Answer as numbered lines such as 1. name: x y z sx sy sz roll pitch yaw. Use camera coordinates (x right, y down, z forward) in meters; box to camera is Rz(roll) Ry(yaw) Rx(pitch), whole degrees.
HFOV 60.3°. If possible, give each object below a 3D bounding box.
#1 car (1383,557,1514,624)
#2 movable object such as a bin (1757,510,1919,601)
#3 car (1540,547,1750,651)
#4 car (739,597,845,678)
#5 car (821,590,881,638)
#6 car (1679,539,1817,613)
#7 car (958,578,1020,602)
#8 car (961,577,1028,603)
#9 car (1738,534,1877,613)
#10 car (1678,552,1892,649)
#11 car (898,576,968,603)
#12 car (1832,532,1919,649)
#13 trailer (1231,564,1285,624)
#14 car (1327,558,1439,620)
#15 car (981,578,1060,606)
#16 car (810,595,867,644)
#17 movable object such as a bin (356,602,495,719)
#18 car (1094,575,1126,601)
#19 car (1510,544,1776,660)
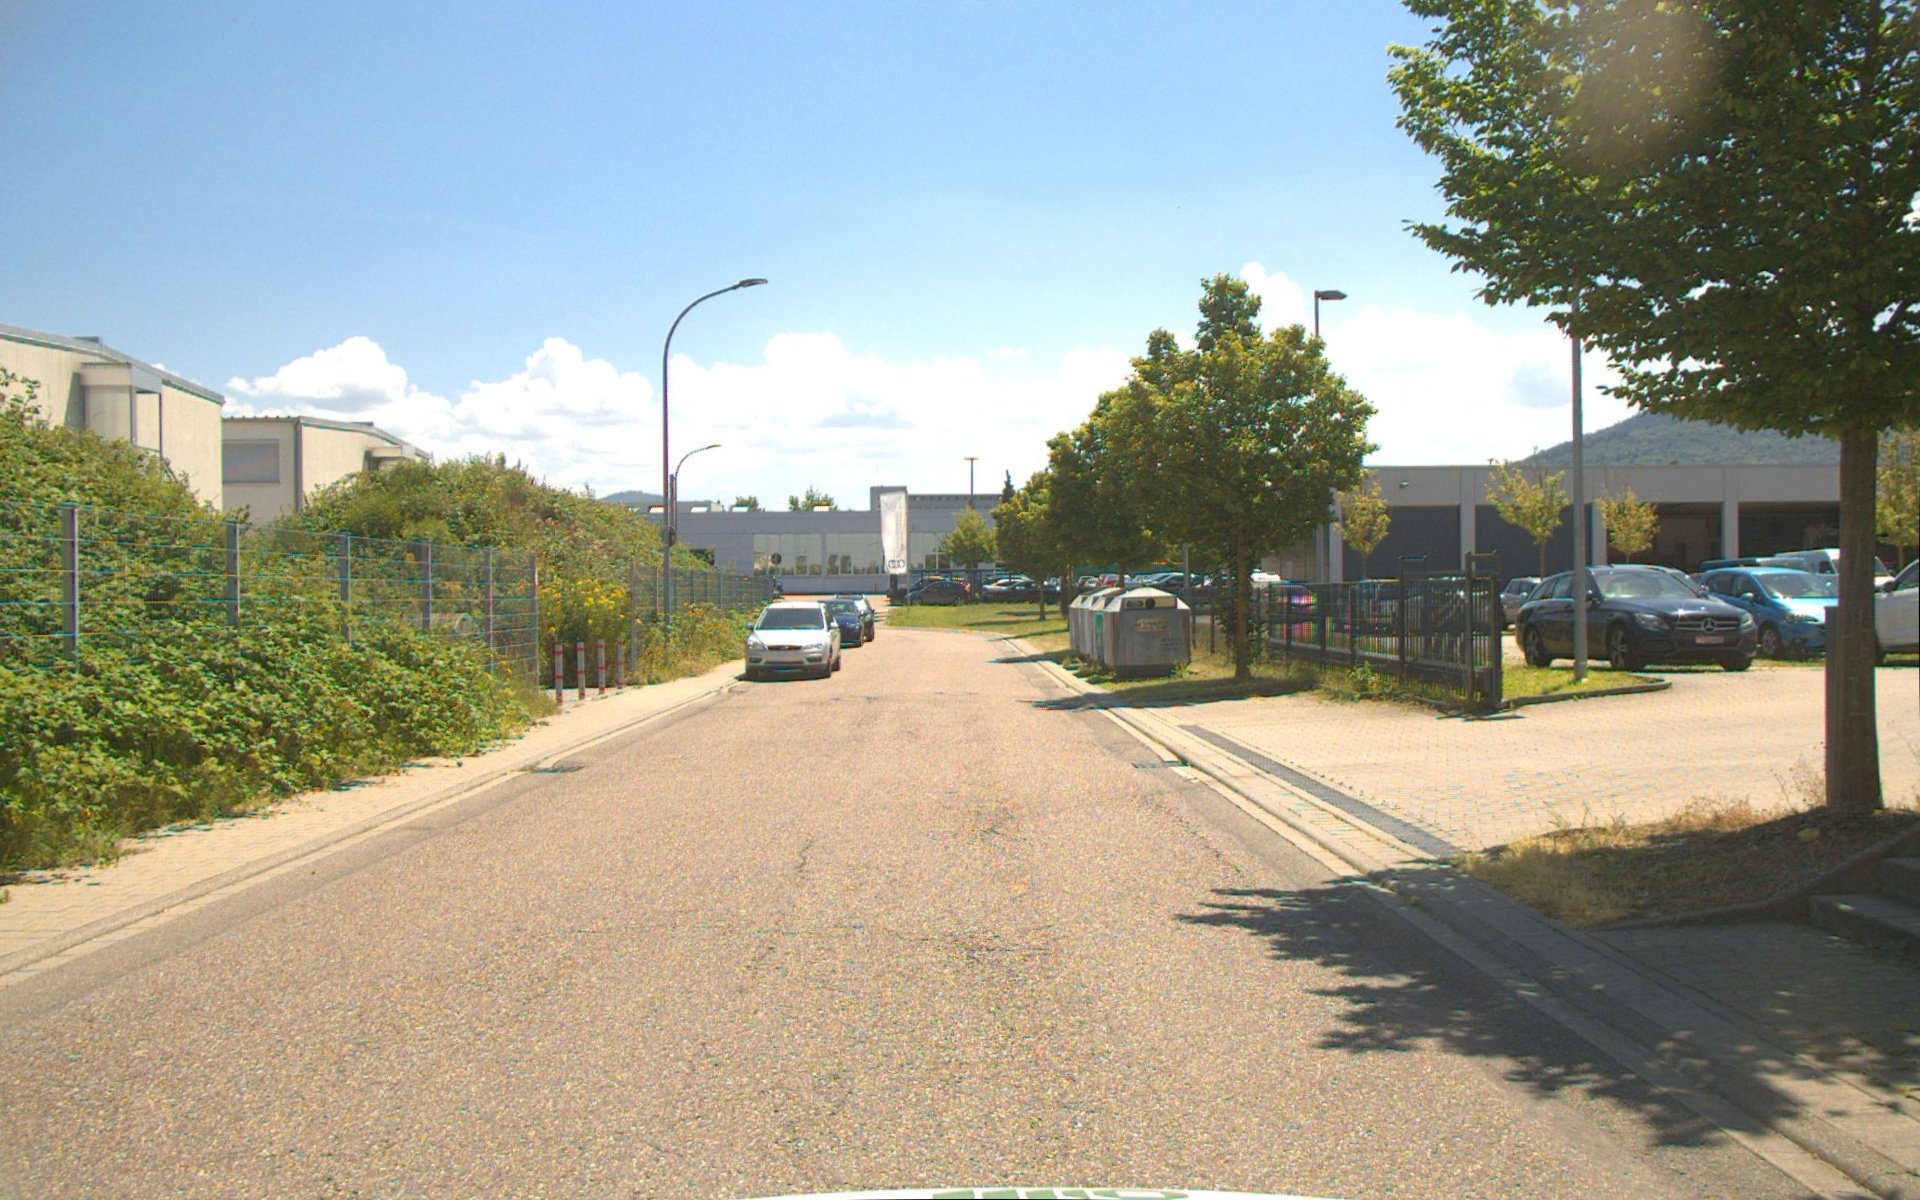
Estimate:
1. car: 11.779 -0.193 40.161 1.754 1.458 4.140 -1 -2 -3
2. movable object such as a bin: 41.872 -2.063 78.690 3.469 4.043 8.663 -1 1 -2
3. car: 11.894 -0.086 29.027 1.754 1.651 4.240 -1 2 -3
4. car: -3.482 0.735 35.002 1.796 1.573 4.366 -1 0 -1
5. car: -3.742 0.470 57.262 1.796 1.573 4.264 -1 0 -1
6. car: 27.881 -0.787 58.767 1.843 2.303 5.651 -1 -2 -4
7. car: 1.859 -0.640 108.131 3.907 1.423 1.999 -1 -2 -3
8. car: 2.056 -0.591 99.320 3.907 1.423 1.999 -1 -2 -3
9. car: 30.421 -0.896 59.592 1.843 2.521 5.501 -1 -2 -4
10. car: 14.456 -0.051 29.231 1.613 1.518 4.021 -1 2 -3
11. car: -1.562 -0.593 94.335 3.907 1.423 1.999 -1 -2 -3
12. car: 14.797 -0.153 23.809 1.803 1.682 4.647 -1 -2 -3
13. trailer: 11.119 -0.245 61.828 1.462 2.041 3.265 -1 3 1
14. car: 11.600 -0.343 45.628 1.754 1.557 4.420 -1 2 -3
15. car: 3.443 -0.450 94.359 4.349 1.423 1.999 -1 -2 -3
16. car: -3.790 0.591 52.001 1.623 1.442 4.143 -1 0 -2
17. movable object such as a bin: -7.209 0.788 22.435 1.277 1.503 1.839 -1 0 0
18. car: 11.434 -0.909 126.435 1.953 1.859 3.999 -1 -2 -1
19. car: 9.576 0.085 23.601 1.754 1.480 4.406 -1 -2 -3
